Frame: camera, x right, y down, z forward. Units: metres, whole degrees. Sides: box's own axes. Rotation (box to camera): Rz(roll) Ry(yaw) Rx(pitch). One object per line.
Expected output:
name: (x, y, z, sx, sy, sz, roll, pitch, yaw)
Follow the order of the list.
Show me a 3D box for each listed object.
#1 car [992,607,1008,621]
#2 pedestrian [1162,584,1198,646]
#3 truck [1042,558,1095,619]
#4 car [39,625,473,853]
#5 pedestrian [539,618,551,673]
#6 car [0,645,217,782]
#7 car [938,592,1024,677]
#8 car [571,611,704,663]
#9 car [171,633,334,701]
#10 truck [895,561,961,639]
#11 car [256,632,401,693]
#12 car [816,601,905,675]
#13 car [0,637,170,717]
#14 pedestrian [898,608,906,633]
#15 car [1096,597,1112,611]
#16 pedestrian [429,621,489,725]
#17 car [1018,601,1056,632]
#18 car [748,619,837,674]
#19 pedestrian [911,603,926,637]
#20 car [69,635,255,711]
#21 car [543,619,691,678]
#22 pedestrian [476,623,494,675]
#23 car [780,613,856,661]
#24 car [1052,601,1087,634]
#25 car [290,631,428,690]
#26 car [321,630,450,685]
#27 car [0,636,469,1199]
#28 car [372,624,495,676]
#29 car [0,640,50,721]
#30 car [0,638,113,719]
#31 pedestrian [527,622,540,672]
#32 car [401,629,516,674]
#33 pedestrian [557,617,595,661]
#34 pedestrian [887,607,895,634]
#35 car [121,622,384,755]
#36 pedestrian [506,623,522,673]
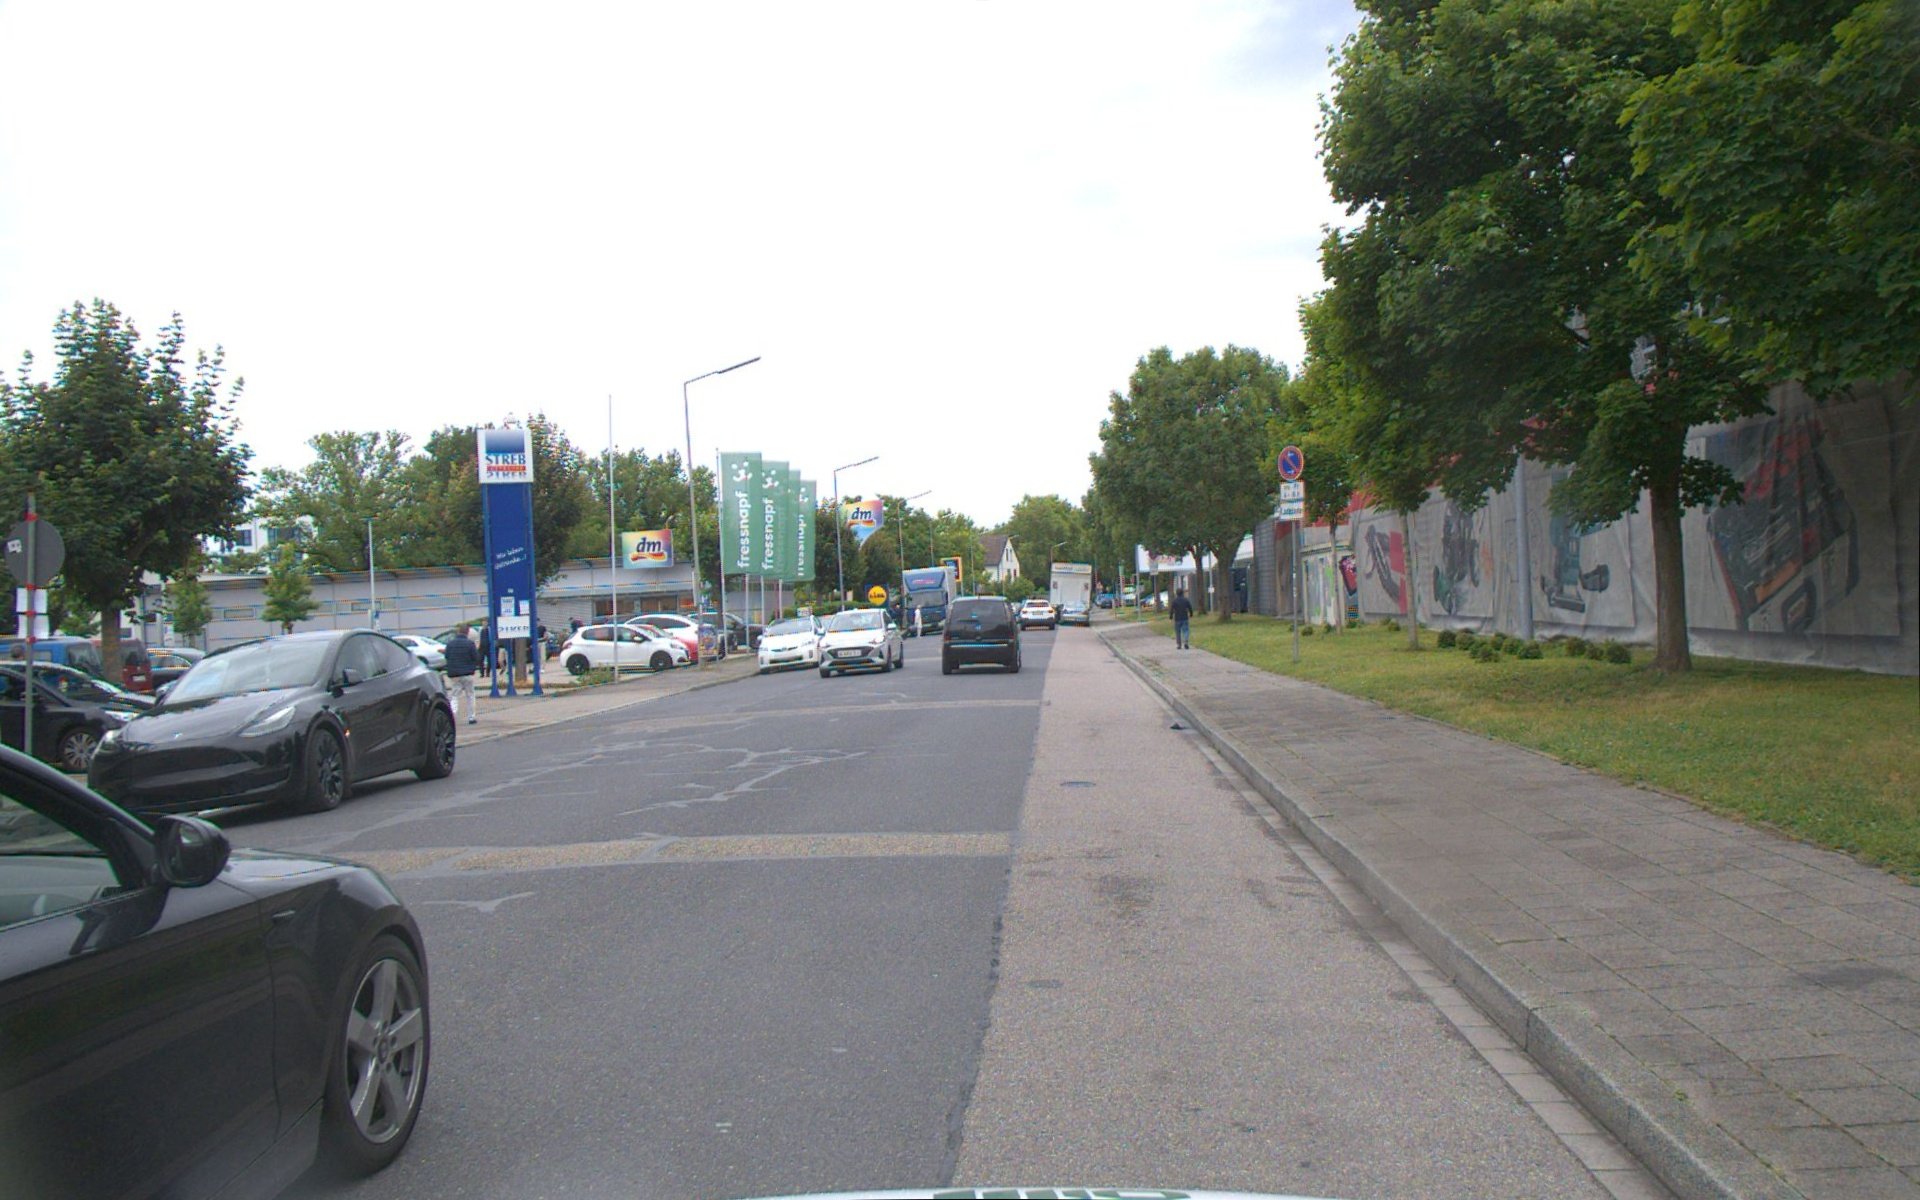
car: (4.311, 1.514, 176.010, 1.509, 1.389, 3.429, -2, -1, 4)
pedestrian: (6.081, 0.420, 45.699, 0.899, 1.663, 0.853, -2, -1, 5)
truck: (6.986, -0.654, 107.534, 3.070, 3.647, 10.053, -2, -1, 2)
car: (-6.328, 1.156, 15.532, 1.907, 1.552, 4.404, -7, -1, 2)
pedestrian: (-13.469, 1.462, 53.661, 0.258, 1.760, 0.421, -3, 0, -9)
car: (-12.360, 1.515, 22.256, 3.792, 1.649, 1.928, -2, 0, 4)
car: (0.507, 0.719, 36.281, 1.646, 1.660, 3.760, -3, 0, 3)
car: (-10.801, 1.236, 55.664, 4.052, 1.488, 1.898, -3, 0, -2)
car: (-20.793, 1.966, 48.679, 3.904, 1.698, 1.877, -3, 0, 4)
truck: (-1.753, -0.012, 93.627, 2.912, 4.024, 6.408, -4, 0, 4)
car: (-20.522, 2.016, 53.813, 3.904, 1.698, 1.877, -3, 0, 4)
car: (-2.321, 0.879, 39.454, 1.565, 1.554, 3.530, -5, -1, 4)
car: (-22.071, 1.910, 41.099, 3.904, 1.698, 1.877, -3, 0, 4)
pedestrian: (-3.734, 1.307, 106.399, 0.393, 1.558, 0.485, -3, 0, -3)
car: (17.605, 0.465, 202.056, 1.847, 1.713, 4.256, -1, 0, 4)
pedestrian: (-8.669, 1.258, 28.637, 0.759, 1.745, 0.697, -2, -1, -1)
car: (4.008, 0.843, 85.653, 1.847, 1.558, 4.256, -1, 0, 4)
car: (-4.820, 1.317, 48.075, 1.858, 1.391, 4.002, -4, 0, 4)
pedestrian: (-2.084, 0.994, 82.876, 0.617, 1.665, 0.668, -3, 0, 2)
car: (-20.909, 1.905, 43.452, 3.904, 1.698, 1.877, -3, 0, 4)
car: (-10.465, 1.459, 50.709, 4.121, 1.488, 1.951, -4, 0, -4)
pedestrian: (-15.389, 1.578, 53.601, 0.447, 1.670, 0.373, -3, 0, -14)
car: (-4.637, 1.194, 54.686, 1.858, 1.391, 4.002, -3, 0, 4)
car: (6.500, 1.041, 98.391, 1.952, 1.837, 4.001, -2, -1, 2)
car: (-20.489, 2.057, 56.480, 3.904, 1.698, 1.877, -3, 0, 4)
car: (-20.814, 2.088, 60.011, 3.904, 1.698, 1.877, -3, 0, 4)
car: (-2.408, 0.818, 2.865, 1.709, 1.382, 4.138, -3, -1, 2)
car: (-19.901, 1.880, 62.616, 3.904, 1.698, 1.877, -3, 0, 4)
car: (-22.512, 1.864, 36.366, 3.904, 1.698, 1.877, -3, 0, 4)
car: (-22.282, 1.886, 38.693, 3.904, 1.698, 1.877, -3, 0, 4)
pedestrian: (-13.902, 1.524, 53.922, 0.323, 1.597, 0.503, -2, 0, -8)
car: (-19.828, 2.021, 65.514, 3.903, 1.518, 1.787, -3, 0, 4)
pedestrian: (-18.818, 1.925, 81.009, 1.373, 2.048, 1.195, -3, 0, -36)
pedestrian: (-4.128, 1.236, 99.195, 0.393, 1.558, 0.485, -3, 0, -3)
car: (-12.590, 1.538, 29.605, 3.852, 2.048, 1.760, -4, 0, -3)
pedestrian: (-14.502, 1.546, 53.742, 0.352, 1.597, 0.503, -3, 0, -7)
